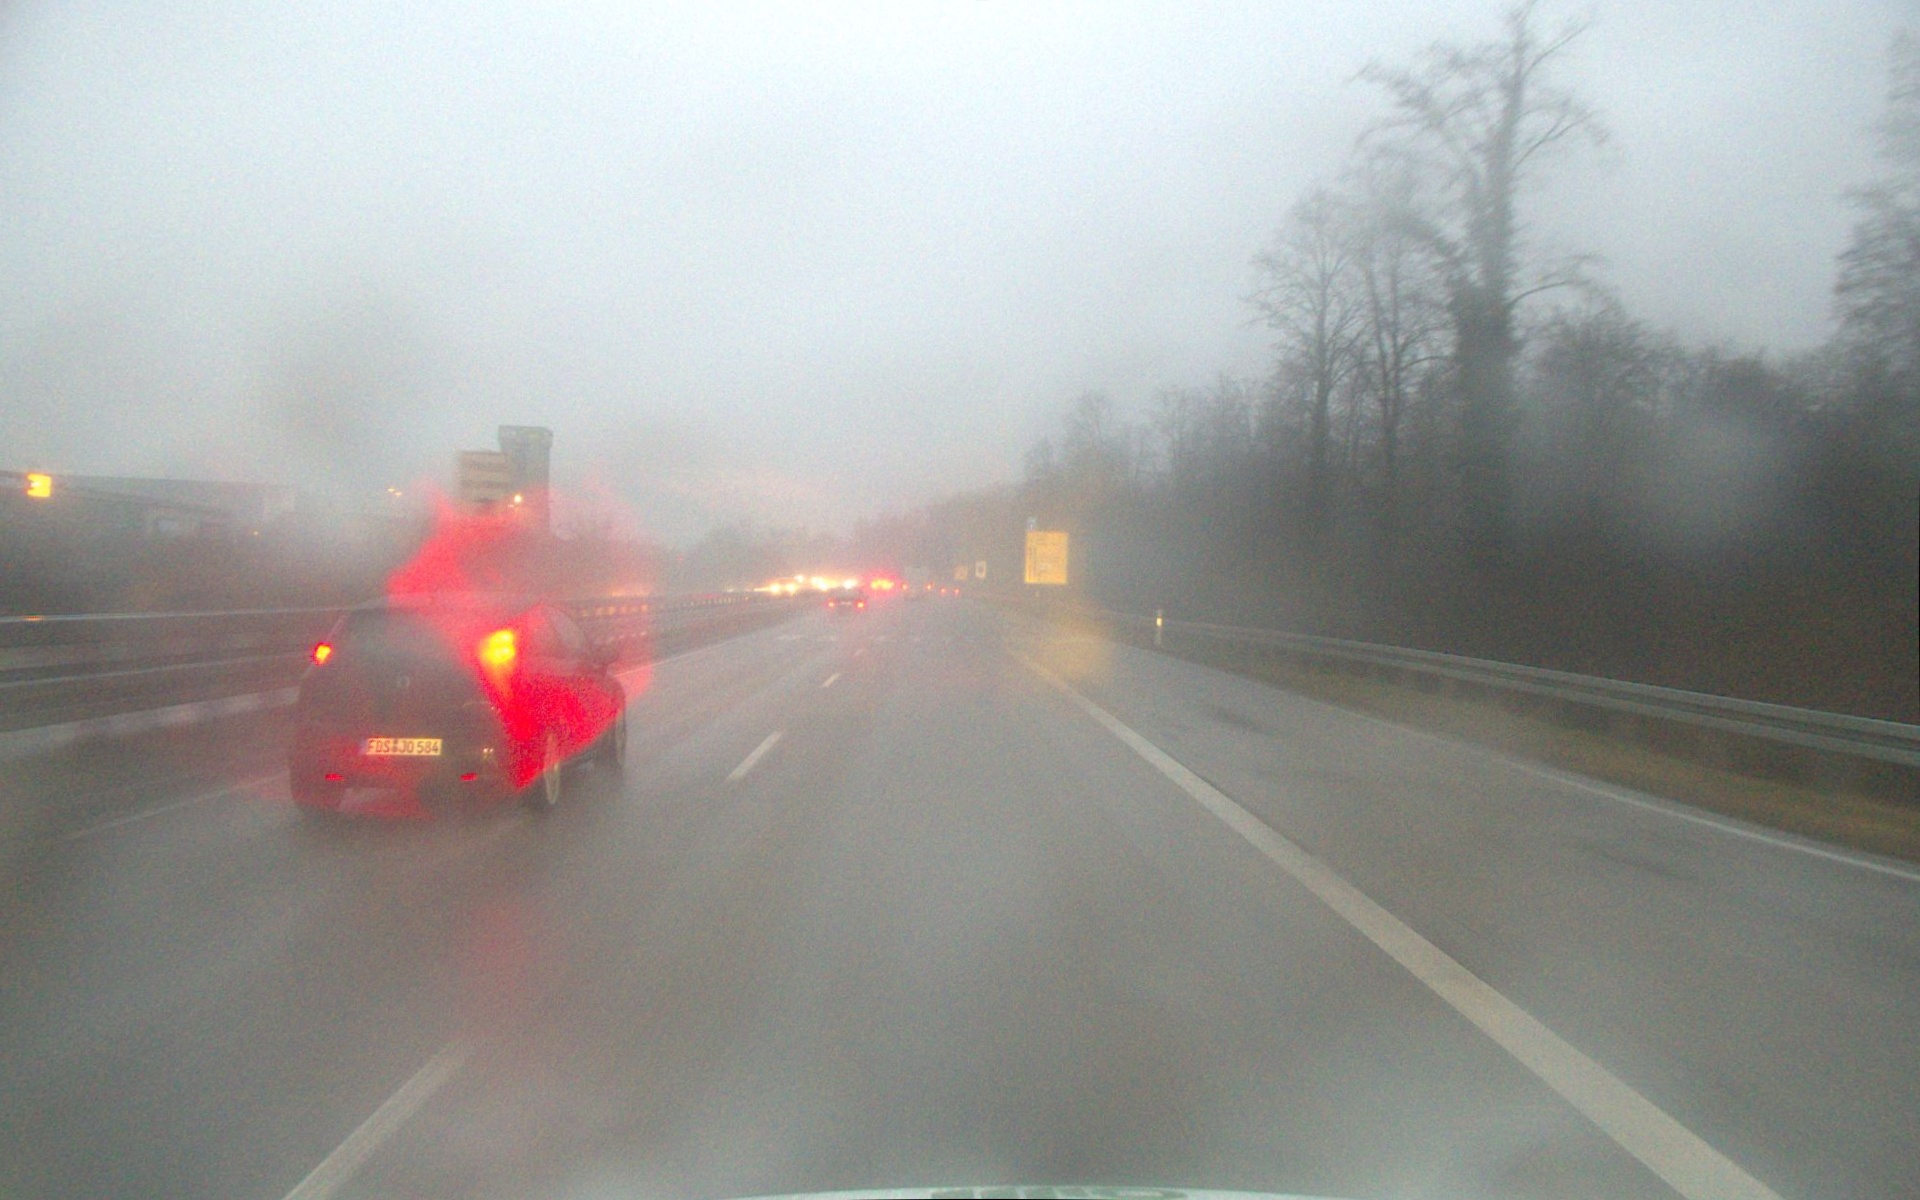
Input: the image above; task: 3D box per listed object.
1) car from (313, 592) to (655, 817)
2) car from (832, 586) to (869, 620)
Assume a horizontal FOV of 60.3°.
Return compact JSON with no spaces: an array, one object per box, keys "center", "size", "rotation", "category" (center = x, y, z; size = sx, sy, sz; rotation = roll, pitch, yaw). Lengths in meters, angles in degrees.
[{"center":[-3.458,0.677,12.750],"size":[1.593,1.416,3.998],"rotation":[2,0,-3],"category":"car"},{"center":[-4.640,0.103,70.294],"size":[1.387,1.340,3.082],"rotation":[2,1,-2],"category":"car"}]
